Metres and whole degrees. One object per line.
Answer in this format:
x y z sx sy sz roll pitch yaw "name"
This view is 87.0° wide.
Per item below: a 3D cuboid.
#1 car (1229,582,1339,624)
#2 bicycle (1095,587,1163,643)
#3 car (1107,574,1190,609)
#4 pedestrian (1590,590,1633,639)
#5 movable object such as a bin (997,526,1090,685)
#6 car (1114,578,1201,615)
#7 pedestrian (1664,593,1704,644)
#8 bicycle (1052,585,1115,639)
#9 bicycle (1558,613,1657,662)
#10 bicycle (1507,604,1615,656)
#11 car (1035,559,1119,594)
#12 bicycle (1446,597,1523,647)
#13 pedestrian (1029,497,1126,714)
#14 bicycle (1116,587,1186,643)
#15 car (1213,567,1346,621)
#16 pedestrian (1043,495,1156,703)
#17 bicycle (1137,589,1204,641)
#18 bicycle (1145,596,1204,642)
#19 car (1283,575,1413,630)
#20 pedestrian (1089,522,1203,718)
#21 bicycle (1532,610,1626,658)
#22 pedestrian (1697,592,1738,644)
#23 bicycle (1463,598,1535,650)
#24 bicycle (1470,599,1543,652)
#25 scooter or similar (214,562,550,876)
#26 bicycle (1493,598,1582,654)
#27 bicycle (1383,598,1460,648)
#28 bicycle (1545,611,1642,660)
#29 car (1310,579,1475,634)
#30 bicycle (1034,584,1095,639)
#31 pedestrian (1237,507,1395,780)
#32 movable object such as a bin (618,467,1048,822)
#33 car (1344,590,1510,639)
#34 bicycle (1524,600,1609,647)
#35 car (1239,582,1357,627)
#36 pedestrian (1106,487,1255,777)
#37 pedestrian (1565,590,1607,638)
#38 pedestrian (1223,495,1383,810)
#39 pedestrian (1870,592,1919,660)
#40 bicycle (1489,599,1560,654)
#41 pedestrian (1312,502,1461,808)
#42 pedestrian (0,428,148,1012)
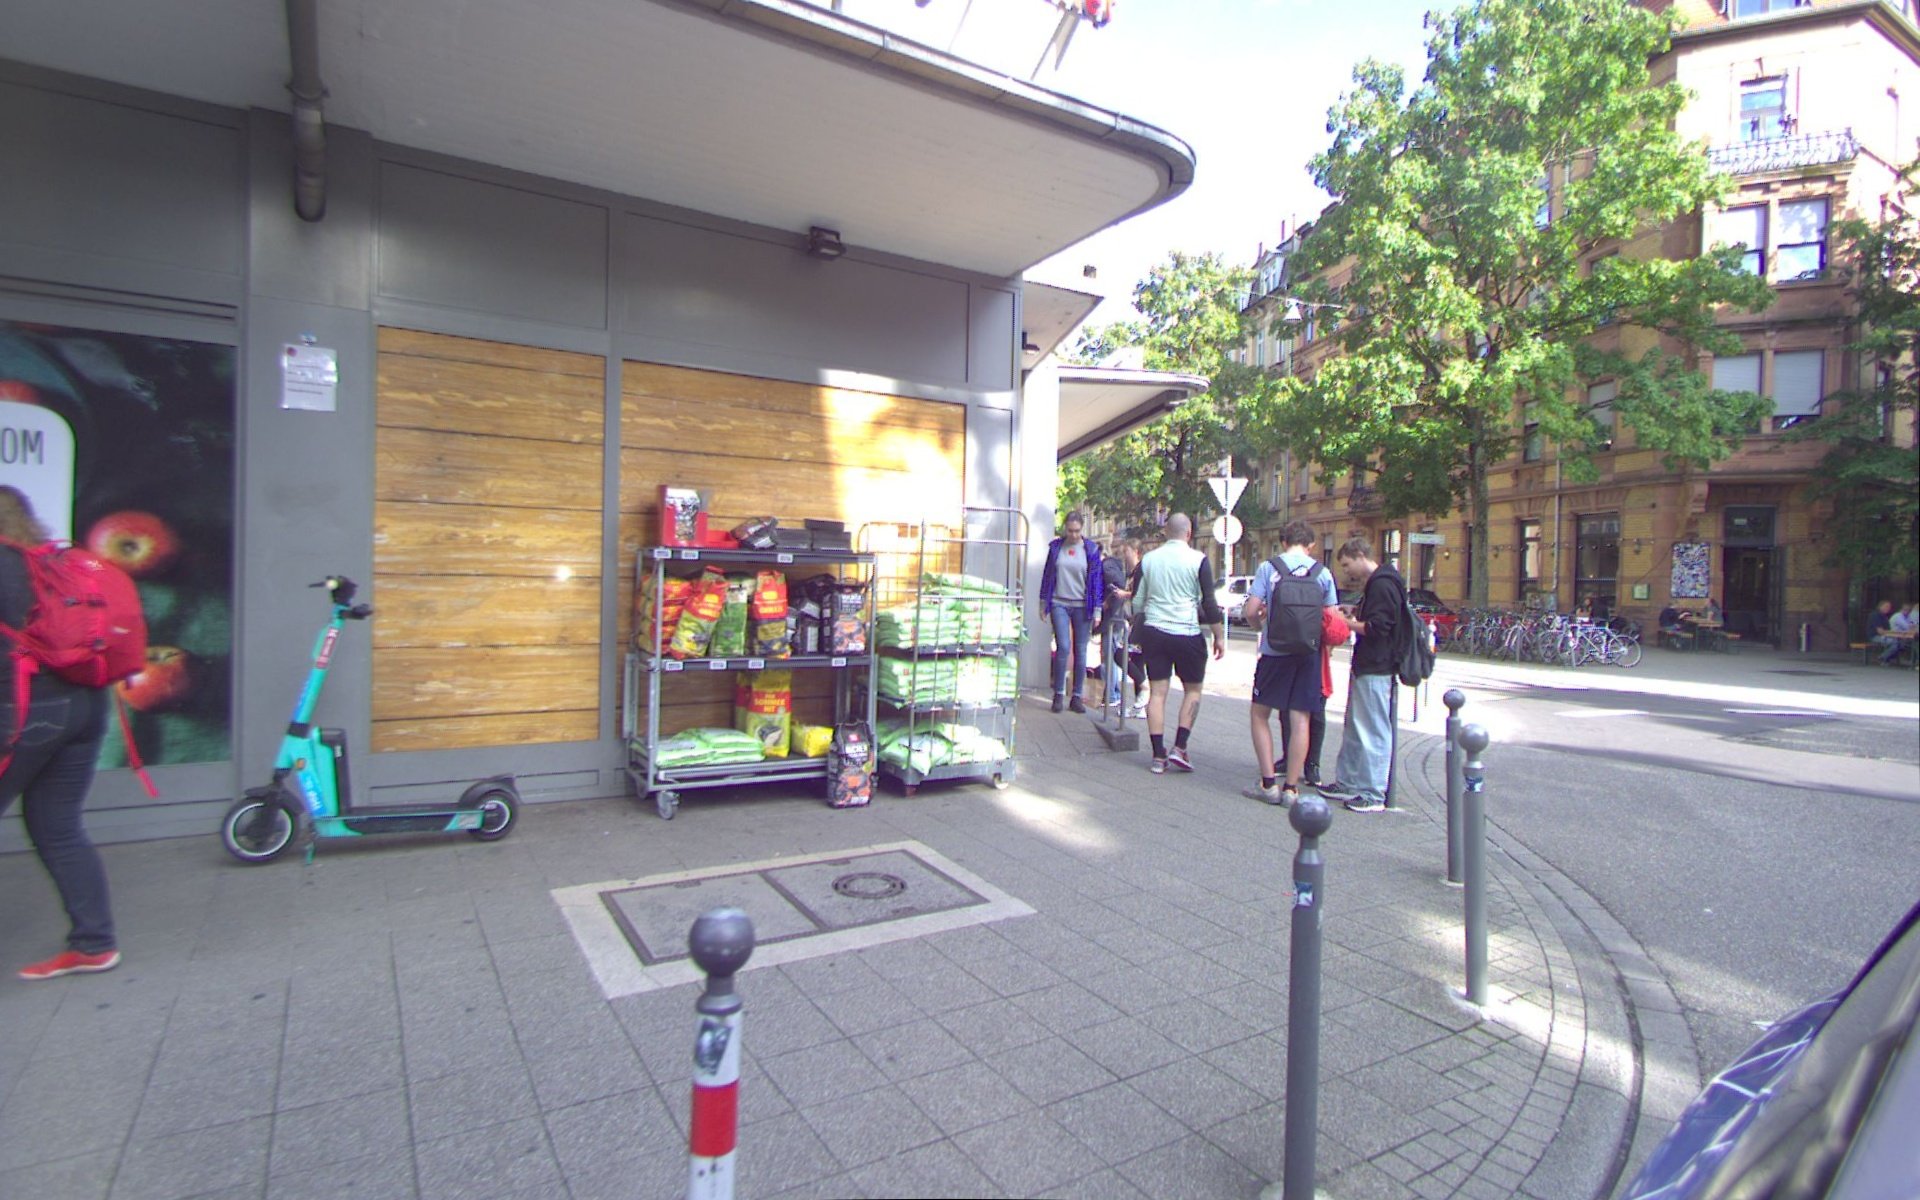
12.432 0.089 38.933 3.634 1.475 1.672 -2 2 -5 "car"
3.857 0.329 23.256 0.405 1.190 1.855 2 1 -31 "bicycle"
11.027 -0.519 59.383 4.367 1.856 1.940 -2 2 -9 "car"
17.745 0.379 27.560 0.753 1.301 0.630 -1 1 -8 "pedestrian"
0.983 0.047 12.303 0.676 1.776 1.552 3 1 -9 "movable object such as a bin"
11.084 -0.224 56.850 4.367 1.856 1.940 -2 2 -9 "car"
18.400 0.465 25.726 0.629 1.239 0.512 0 2 1 "pedestrian"
2.748 0.249 22.629 0.413 1.099 1.701 2 2 -30 "bicycle"
13.381 0.764 20.936 1.683 0.981 0.447 0 2 7 "bicycle"
13.217 0.653 22.297 2.010 1.102 0.447 0 2 7 "bicycle"
7.985 -1.581 69.332 5.371 2.229 2.002 1 0 -6 "car"
13.047 0.547 25.186 1.679 1.216 0.448 0 2 -2 "bicycle"
1.012 0.034 8.826 0.752 1.775 0.929 2 1 6 "pedestrian"
4.354 0.336 23.209 0.405 1.190 1.855 2 1 -31 "bicycle"
13.206 -0.287 41.998 4.811 2.014 2.051 -2 2 -9 "car"
1.483 -0.032 10.640 0.854 2.038 1.027 3 1 22 "pedestrian"
5.098 0.348 24.663 0.405 1.190 1.855 2 1 -31 "bicycle"
5.012 0.430 23.708 0.483 1.014 1.425 2 1 -31 "bicycle"
13.089 0.082 34.274 3.634 1.743 1.863 1 0 -5 "car"
1.766 0.169 9.672 0.602 1.775 0.842 1 1 -38 "pedestrian"
13.331 0.727 21.832 1.683 0.999 0.447 0 2 7 "bicycle"
19.173 0.448 25.625 0.629 1.274 0.512 0 2 1 "pedestrian"
13.123 0.574 24.644 1.676 1.216 0.449 -1 2 -14 "bicycle"
13.043 0.594 24.156 1.676 1.216 0.449 -1 2 -14 "bicycle"
-2.609 0.473 4.616 1.231 1.227 0.634 1 3 -34 "scooter or similar"
13.058 0.579 22.896 1.683 1.216 0.447 0 2 7 "bicycle"
11.732 0.550 25.826 0.570 1.109 2.504 -2 2 -6 "bicycle"
13.370 0.735 21.392 1.683 0.999 0.447 0 2 7 "bicycle"
13.371 0.174 31.473 4.230 1.589 2.007 -1 1 0 "car"
2.322 0.243 22.652 0.413 1.099 1.701 2 2 -30 "bicycle"
2.491 0.283 7.132 0.645 1.818 0.657 3 3 -19 "pedestrian"
-0.694 0.218 5.972 2.375 1.766 0.783 1 1 -31 "movable object such as a bin"
13.214 0.395 28.715 4.028 1.286 1.570 -1 0 -8 "car"
15.061 0.578 25.152 1.765 1.127 0.601 0 2 -2 "bicycle"
12.159 0.155 36.490 3.634 1.476 1.671 -1 0 -5 "car"
1.531 0.178 7.149 0.873 1.856 1.044 3 3 11 "pedestrian"
17.514 0.376 28.323 0.753 1.301 0.630 -1 1 -8 "pedestrian"
2.108 0.296 6.318 0.621 1.818 0.715 4 3 1 "pedestrian"
19.957 0.547 21.444 0.657 1.396 0.717 1 1 3 "pedestrian"
13.172 0.596 23.611 1.676 1.216 0.449 -1 2 -20 "bicycle"
2.738 0.315 6.529 0.707 1.818 0.627 5 3 24 "pedestrian"
-2.979 0.320 3.085 0.698 1.652 0.725 1 3 -33 "pedestrian"
